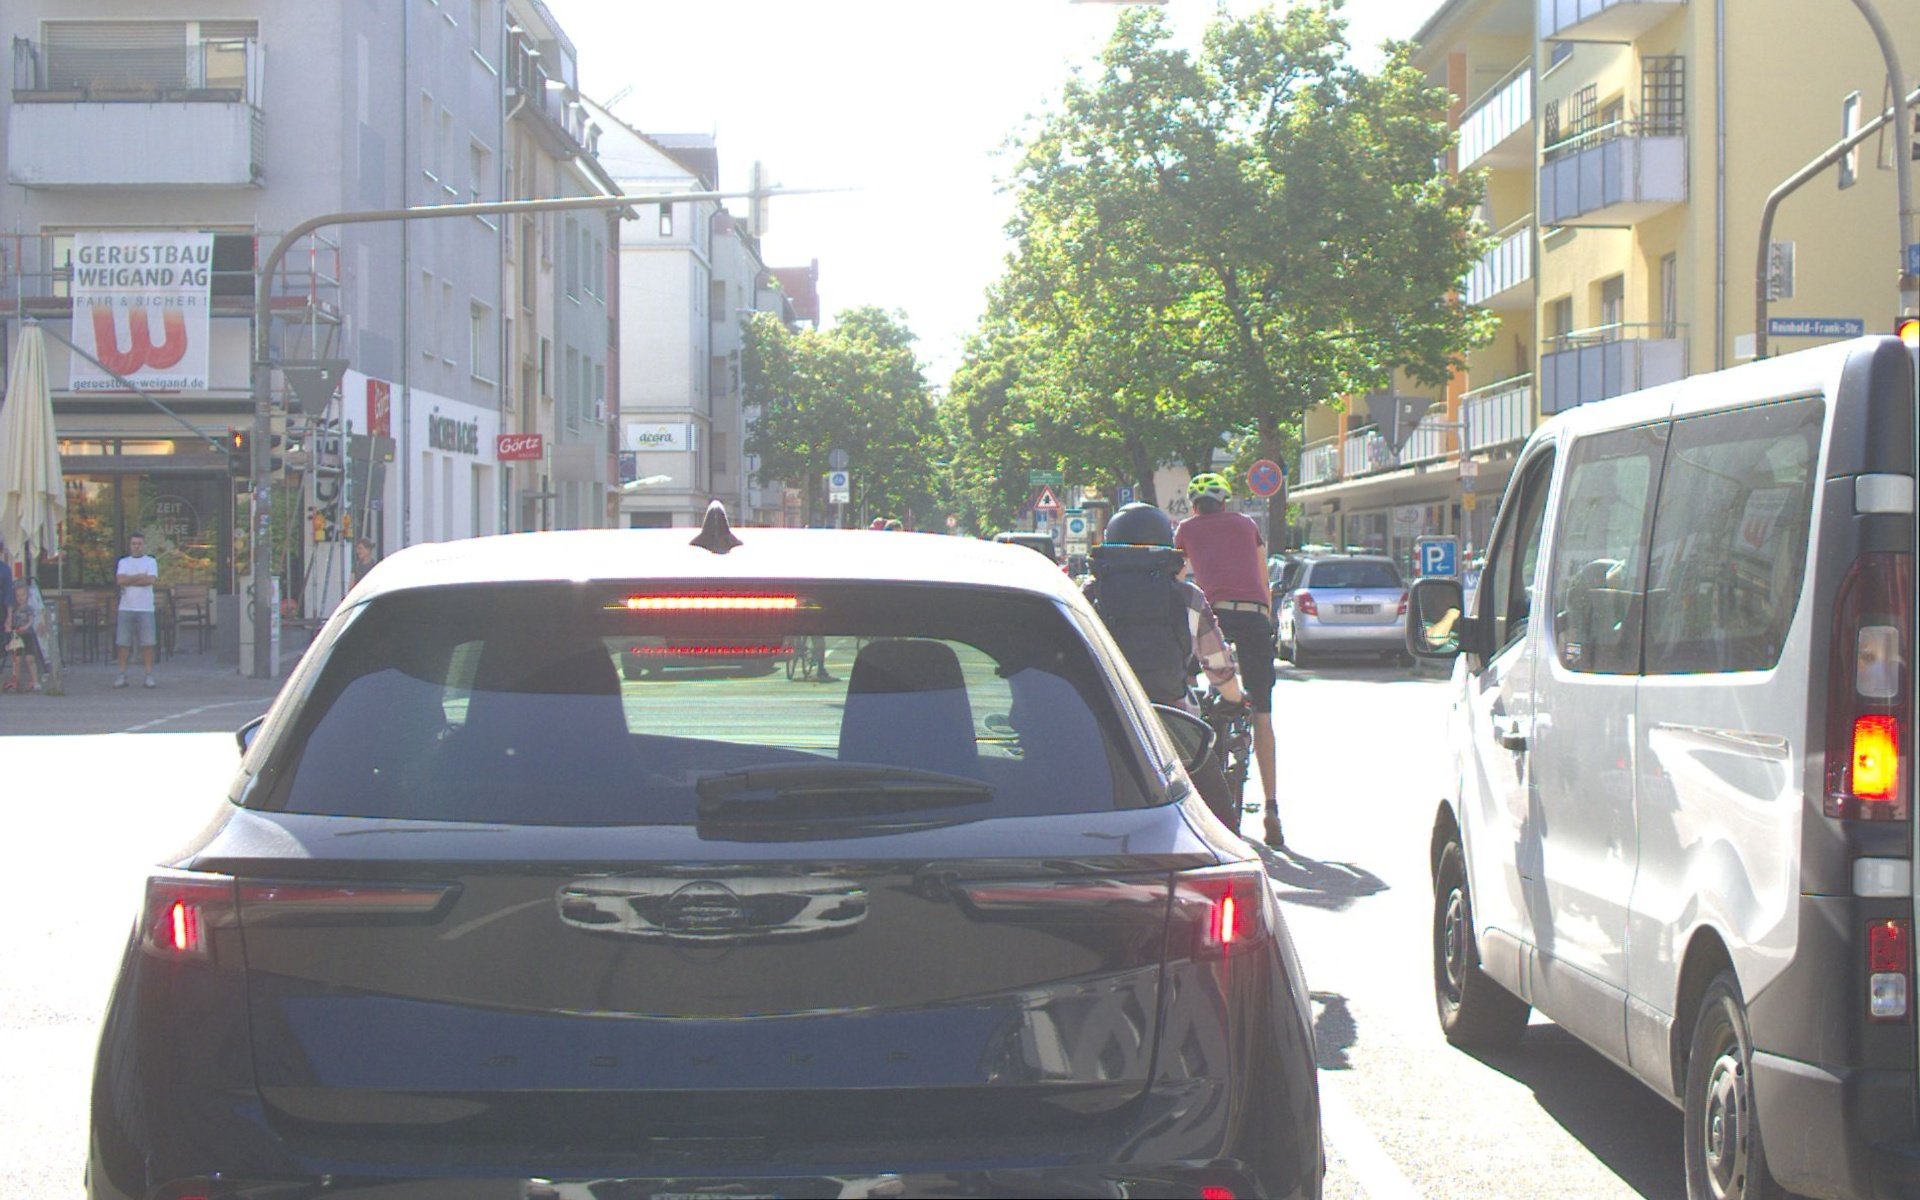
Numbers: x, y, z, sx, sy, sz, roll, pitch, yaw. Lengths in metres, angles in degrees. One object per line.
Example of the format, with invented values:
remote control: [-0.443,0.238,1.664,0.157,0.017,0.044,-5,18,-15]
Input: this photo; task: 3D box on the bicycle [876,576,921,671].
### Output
bicycle: [-0.787,0.280,43.463,0.521,1.143,2.170,0,1,-2]

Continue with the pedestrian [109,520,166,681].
pedestrian: [-9.099,-0.001,38.056,0.561,1.769,0.584,0,1,-9]

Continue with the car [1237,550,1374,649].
car: [5.178,-0.034,51.908,1.634,1.428,4.000,0,1,-1]

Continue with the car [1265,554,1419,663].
car: [5.208,0.084,47.283,1.634,1.428,3.957,0,1,-1]

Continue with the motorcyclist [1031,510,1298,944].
motorcyclist: [0.720,0.431,12.460,0.864,1.497,1.160,0,1,-2]

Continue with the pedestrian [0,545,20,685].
pedestrian: [-10.602,0.156,37.440,0.584,1.516,0.650,0,1,-3]

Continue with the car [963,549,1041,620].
car: [1.031,-0.413,86.235,1.902,1.722,4.073,0,1,0]

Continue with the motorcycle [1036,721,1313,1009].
motorcycle: [0.722,0.901,12.186,0.825,0.842,1.885,0,1,-1]

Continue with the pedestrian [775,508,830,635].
pedestrian: [-2.004,-0.368,43.755,0.680,1.600,0.762,0,1,-2]

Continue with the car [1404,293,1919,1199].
car: [2.451,0.428,8.499,1.993,1.972,4.895,1,1,0]

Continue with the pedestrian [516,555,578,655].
pedestrian: [-5.230,0.060,43.562,0.707,1.249,0.802,0,1,-2]

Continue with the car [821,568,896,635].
car: [-2.716,0.010,92.381,1.825,1.722,4.000,0,1,1]

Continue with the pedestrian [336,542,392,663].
pedestrian: [-7.529,0.023,43.427,0.617,1.516,0.725,0,1,-3]

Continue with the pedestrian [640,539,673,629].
pedestrian: [-5.749,-0.306,65.114,0.570,1.684,0.588,0,1,-1]

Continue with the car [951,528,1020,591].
car: [0.705,-1.133,96.061,1.902,1.722,4.000,0,1,0]

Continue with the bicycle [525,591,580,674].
bicycle: [-5.193,0.401,43.880,0.521,0.989,2.340,0,1,-2]

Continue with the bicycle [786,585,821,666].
bicycle: [-2.000,0.311,44.074,0.443,0.989,2.069,0,1,-2]

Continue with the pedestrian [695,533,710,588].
pedestrian: [-7.792,-1.204,104.032,0.402,1.669,0.418,0,1,-1]

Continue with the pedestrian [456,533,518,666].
pedestrian: [-6.008,-0.014,43.693,0.707,1.672,0.802,0,1,-2]

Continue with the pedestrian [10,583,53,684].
pedestrian: [-10.126,0.362,37.497,0.355,1.088,0.462,0,1,-3]

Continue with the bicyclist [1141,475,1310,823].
bicyclist: [1.339,0.231,17.544,0.689,1.707,1.414,0,1,-2]

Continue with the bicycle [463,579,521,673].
bicycle: [-5.979,0.317,43.986,0.521,1.143,2.284,0,1,-2]

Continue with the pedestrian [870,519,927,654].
pedestrian: [-0.781,-0.176,43.450,0.707,1.695,0.802,0,1,-2]

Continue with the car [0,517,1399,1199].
car: [-0.416,0.627,6.315,1.770,1.525,4.001,0,1,-2]

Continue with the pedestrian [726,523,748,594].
pedestrian: [-5.364,-0.998,82.704,0.488,1.684,0.588,0,1,-1]

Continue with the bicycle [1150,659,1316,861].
bicycle: [1.380,0.793,17.749,0.577,0.901,2.301,0,1,-2]
